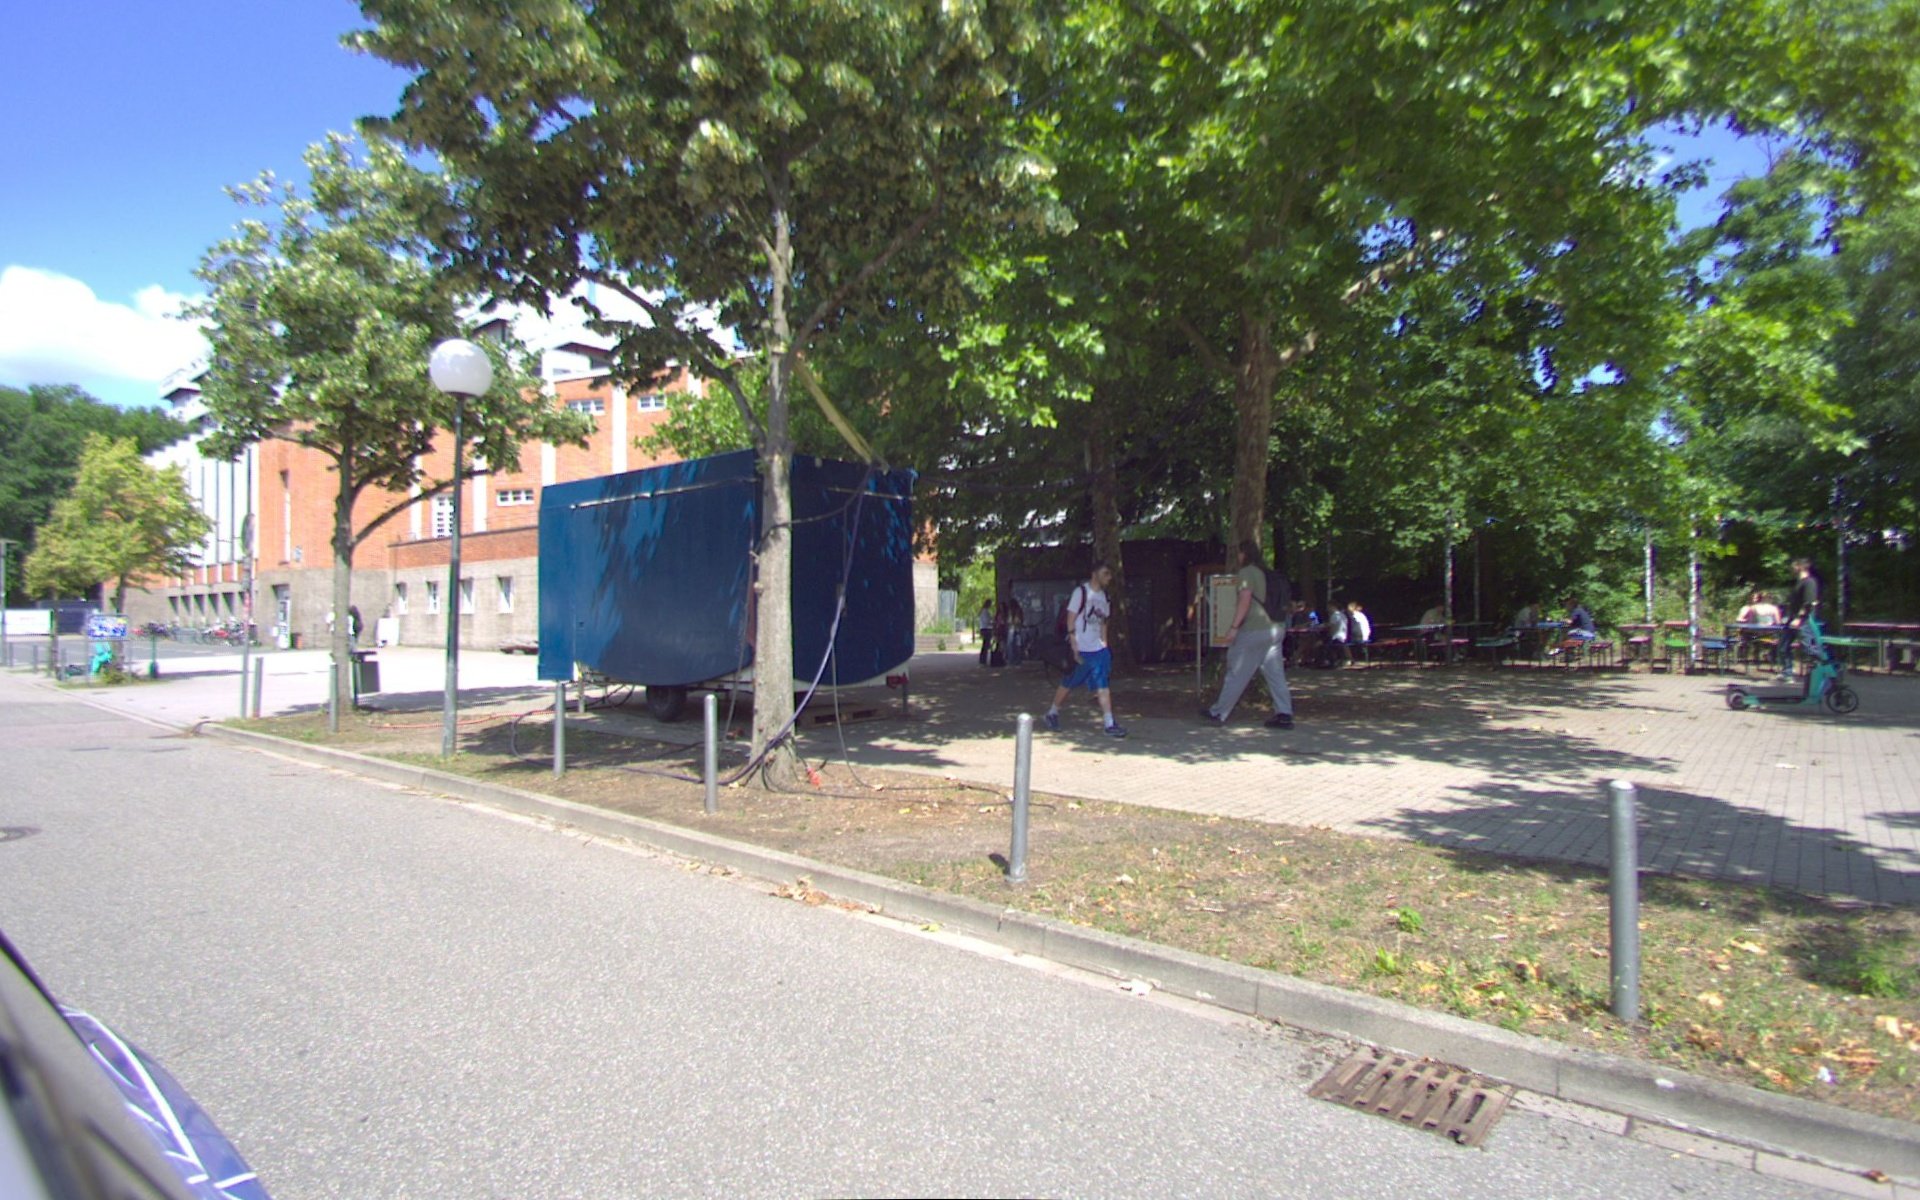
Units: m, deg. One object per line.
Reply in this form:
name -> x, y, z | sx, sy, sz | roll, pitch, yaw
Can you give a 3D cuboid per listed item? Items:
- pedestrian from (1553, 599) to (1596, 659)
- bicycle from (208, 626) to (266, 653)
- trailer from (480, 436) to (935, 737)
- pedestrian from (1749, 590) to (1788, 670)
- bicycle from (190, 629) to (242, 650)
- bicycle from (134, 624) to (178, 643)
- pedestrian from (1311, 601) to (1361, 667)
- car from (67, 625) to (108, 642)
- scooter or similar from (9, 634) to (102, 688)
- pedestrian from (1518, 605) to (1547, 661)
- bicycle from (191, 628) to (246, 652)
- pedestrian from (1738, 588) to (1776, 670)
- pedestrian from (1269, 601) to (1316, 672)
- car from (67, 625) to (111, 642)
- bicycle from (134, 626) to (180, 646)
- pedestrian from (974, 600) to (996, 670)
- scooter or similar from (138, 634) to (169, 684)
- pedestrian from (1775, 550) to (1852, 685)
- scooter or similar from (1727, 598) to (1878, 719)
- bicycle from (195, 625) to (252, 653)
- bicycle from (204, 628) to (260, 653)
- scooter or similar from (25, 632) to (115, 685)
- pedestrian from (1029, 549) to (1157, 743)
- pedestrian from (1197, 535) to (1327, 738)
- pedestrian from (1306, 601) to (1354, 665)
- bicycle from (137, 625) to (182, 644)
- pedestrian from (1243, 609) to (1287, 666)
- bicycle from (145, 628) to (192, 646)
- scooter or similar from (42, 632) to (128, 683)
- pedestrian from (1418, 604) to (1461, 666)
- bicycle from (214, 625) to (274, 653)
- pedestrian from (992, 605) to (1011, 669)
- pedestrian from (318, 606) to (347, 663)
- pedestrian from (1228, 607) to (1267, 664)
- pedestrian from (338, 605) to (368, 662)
pedestrian -> 12.519, 0.588, 20.635 | 0.728, 1.203, 0.388 | -1, 0, 32
bicycle -> -32.036, 1.736, 44.859 | 0.592, 1.134, 2.000 | -1, -1, 41
trailer -> -3.557, -0.110, 13.327 | 6.262, 3.049, 2.669 | -1, 0, 41
pedestrian -> 14.741, 0.532, 18.459 | 0.458, 1.433, 0.501 | -1, 0, 31
bicycle -> -36.122, 1.917, 49.144 | 0.684, 0.967, 1.931 | -1, -1, 39
bicycle -> -46.367, 1.932, 58.360 | 0.541, 1.038, 1.931 | -1, -1, 39
pedestrian -> 7.356, 0.667, 19.836 | 0.733, 1.243, 0.594 | -3, -1, 6
car -> -63.743, 2.421, 73.956 | 0.524, 1.189, 2.259 | -1, -1, 42
scooter or similar -> -21.457, 1.437, 24.026 | 1.548, 1.234, 0.526 | 0, -1, -22
pedestrian -> 11.853, 0.681, 20.951 | 0.505, 1.148, 0.333 | -1, 0, 30
bicycle -> -34.980, 1.864, 47.768 | 0.662, 1.069, 2.001 | -1, -1, 39
pedestrian -> 15.228, 0.550, 19.346 | 0.472, 1.534, 0.502 | -1, 0, 30
pedestrian -> 6.650, 0.729, 20.271 | 0.733, 1.379, 0.594 | -3, -1, 6
car -> -62.541, 2.379, 72.677 | 0.794, 1.189, 2.337 | -1, -1, 42
bicycle -> -44.346, 1.987, 55.892 | 0.529, 1.038, 1.931 | -1, -1, 39
pedestrian -> 0.629, 0.880, 25.419 | 0.441, 1.723, 0.531 | -2, 0, -4
scooter or similar -> -19.675, 1.428, 24.690 | 0.556, 1.158, 1.352 | 0, -1, -37
pedestrian -> 12.233, 0.247, 14.511 | 0.805, 1.862, 0.524 | -1, -1, 41
scooter or similar -> 9.341, 0.617, 11.255 | 1.241, 1.255, 0.691 | -1, 0, 41
bicycle -> -32.810, 1.725, 45.110 | 0.439, 1.134, 1.999 | -1, 0, 44
bicycle -> -33.554, 1.852, 46.653 | 0.621, 1.090, 1.990 | -1, -1, 39
scooter or similar -> -21.743, 1.407, 24.744 | 1.548, 1.234, 0.567 | 0, -1, -22
pedestrian -> 1.344, 0.439, 10.254 | 0.986, 1.844, 0.791 | -1, -1, 41
pedestrian -> 3.110, 0.341, 10.420 | 0.906, 1.969, 0.894 | -2, 1, -40
pedestrian -> 7.469, 0.667, 20.449 | 0.733, 1.243, 0.594 | -3, -1, 6
bicycle -> -45.711, 1.968, 57.819 | 0.518, 1.038, 1.931 | -1, -1, 39
pedestrian -> 7.317, 0.886, 24.290 | 0.778, 1.333, 0.680 | -1, -2, 42
bicycle -> -43.005, 1.997, 54.999 | 0.568, 0.948, 1.931 | -1, -1, 39
scooter or similar -> -22.141, 1.447, 25.646 | 1.548, 1.234, 0.572 | 0, -1, -22
pedestrian -> 10.022, 0.717, 21.162 | 0.764, 1.260, 0.565 | -1, 0, 29
bicycle -> -30.771, 1.666, 43.533 | 0.666, 1.134, 2.001 | -1, -1, 39
pedestrian -> 1.066, 0.932, 25.919 | 0.407, 1.605, 0.606 | -2, 0, -1
pedestrian -> -19.853, 1.073, 31.994 | 0.805, 1.775, 0.557 | -1, -1, 40
pedestrian -> 6.681, 0.812, 23.536 | 0.693, 1.281, 0.554 | -1, -1, 41
pedestrian -> -19.438, 1.067, 32.392 | 0.917, 1.793, 0.570 | -1, -1, 40
